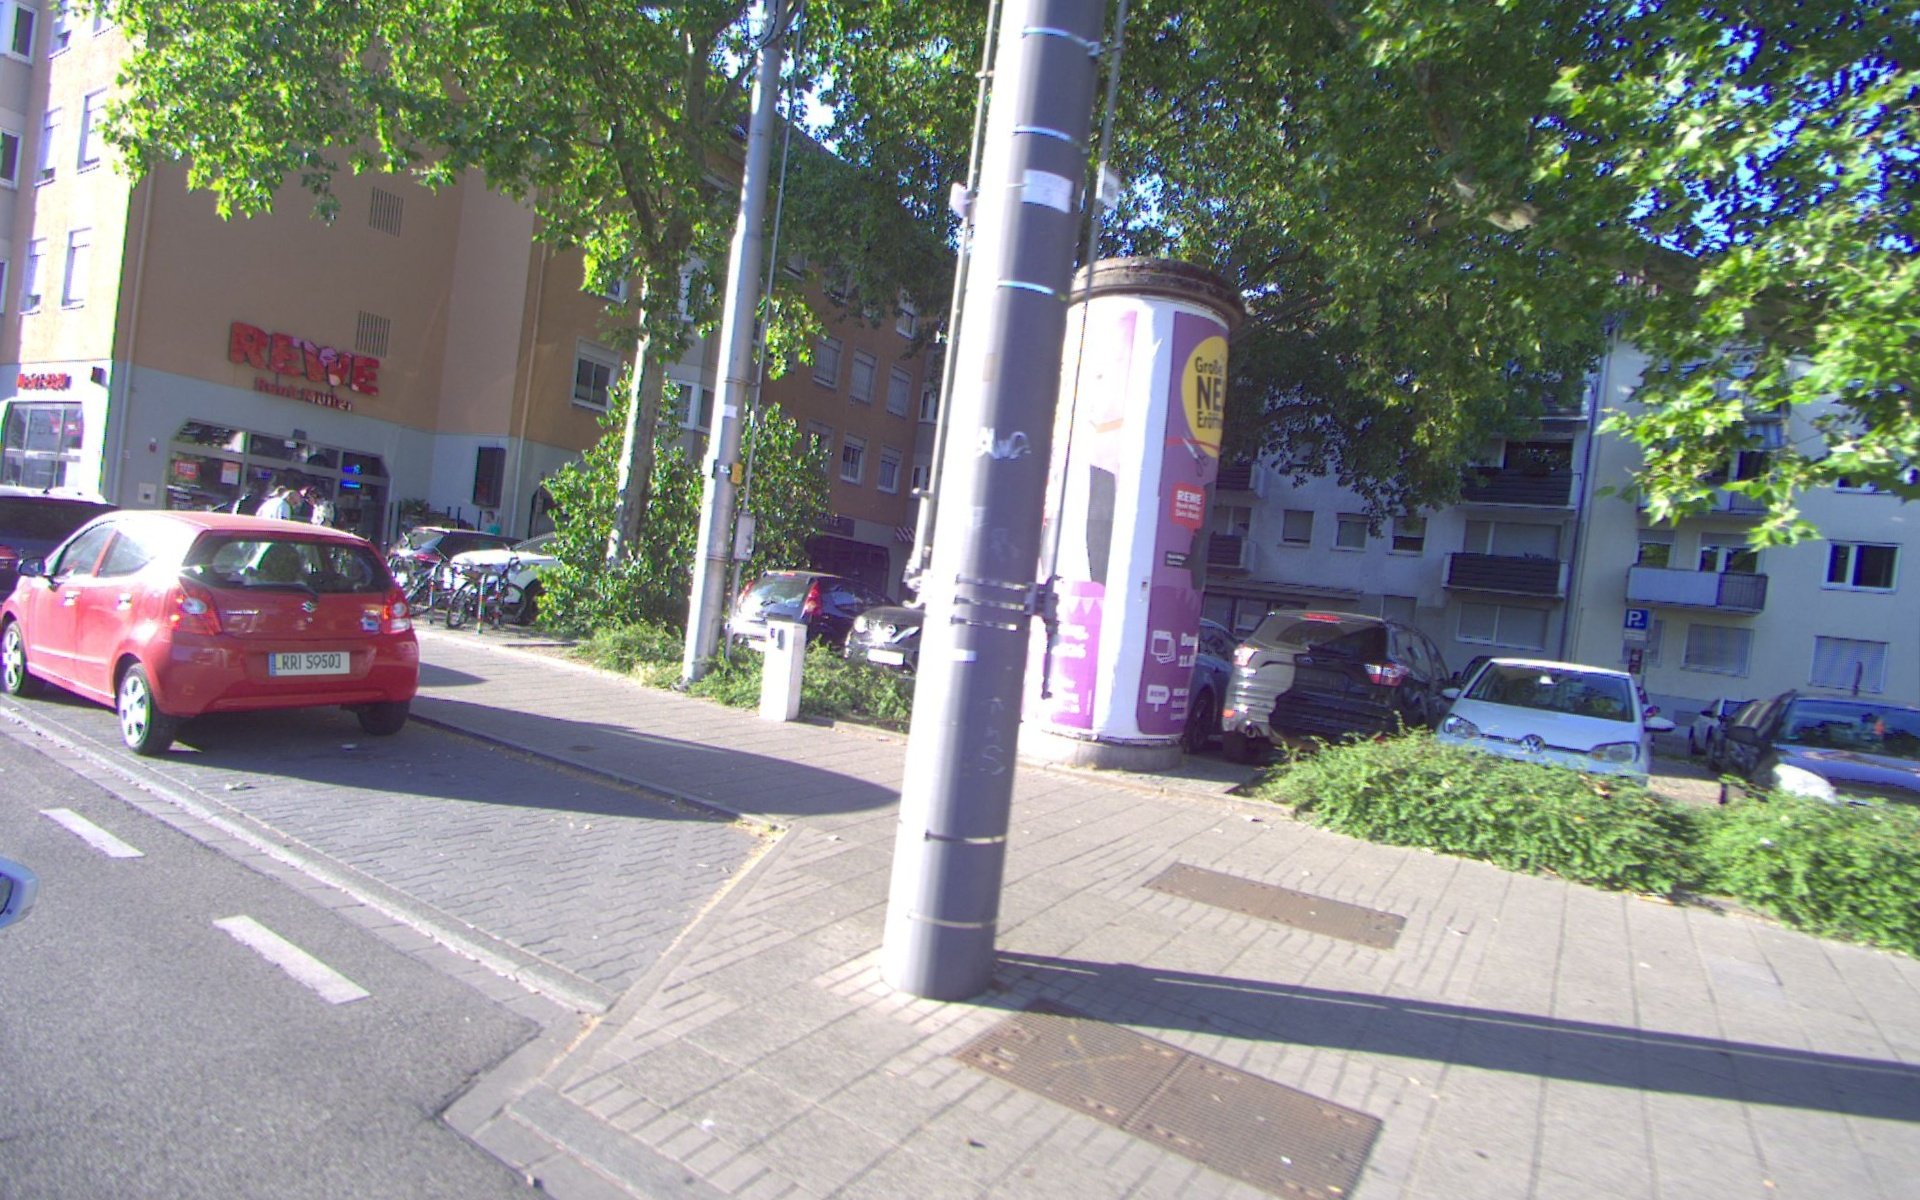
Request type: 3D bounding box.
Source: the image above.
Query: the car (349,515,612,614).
[{"bbox_3d":[-8.939,-0.616,19.076,1.968,1.449,4.018,4,-2,32],"label":"car"}]

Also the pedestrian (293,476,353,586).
[{"bbox_3d":[-10.907,-1.174,17.226,0.639,1.807,0.528,8,5,26],"label":"pedestrian"}]

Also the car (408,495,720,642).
[{"bbox_3d":[-6.665,-0.441,17.504,1.967,1.727,4.629,7,-3,32],"label":"car"}]

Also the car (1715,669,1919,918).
[{"bbox_3d":[7.507,1.468,8.216,1.774,1.513,4.114,7,0,34],"label":"car"}]

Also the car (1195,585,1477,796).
[{"bbox_3d":[4.170,0.974,10.749,1.827,1.650,3.845,7,-2,34],"label":"car"}]

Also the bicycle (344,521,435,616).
[{"bbox_3d":[-8.314,-0.456,14.732,0.637,1.242,1.578,6,1,-13],"label":"bicycle"}]

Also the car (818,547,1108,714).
[{"bbox_3d":[0.220,0.498,13.269,1.826,1.618,4.031,7,-3,32],"label":"car"}]

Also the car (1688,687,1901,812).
[{"bbox_3d":[14.069,2.417,17.256,1.966,1.553,4.288,7,0,30],"label":"car"}]

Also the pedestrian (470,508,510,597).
[{"bbox_3d":[-10.345,-1.035,22.168,0.466,1.905,0.574,6,1,-8],"label":"pedestrian"}]

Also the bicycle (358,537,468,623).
[{"bbox_3d":[-7.440,-0.263,13.764,0.639,1.026,1.581,6,0,-5],"label":"bicycle"}]

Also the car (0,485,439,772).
[{"bbox_3d":[-5.590,0.078,7.341,3.567,1.514,1.569,7,2,33],"label":"car"}]

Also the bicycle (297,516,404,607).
[{"bbox_3d":[-9.228,-0.557,15.297,0.639,1.242,1.581,6,0,-5],"label":"bicycle"}]

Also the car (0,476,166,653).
[{"bbox_3d":[-10.203,-0.522,10.374,4.575,1.551,1.696,7,3,32],"label":"car"}]

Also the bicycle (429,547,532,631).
[{"bbox_3d":[-6.581,-0.149,13.900,0.639,1.026,1.678,6,0,-5],"label":"bicycle"}]

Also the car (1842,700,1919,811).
[{"bbox_3d":[15.837,2.535,15.801,1.966,1.553,4.288,7,0,29],"label":"car"}]

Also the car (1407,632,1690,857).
[{"bbox_3d":[5.684,1.310,9.637,1.773,1.453,3.846,9,-1,34],"label":"car"}]

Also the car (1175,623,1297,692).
[{"bbox_3d":[7.712,1.619,27.817,1.968,1.553,4.052,7,0,33],"label":"car"}]

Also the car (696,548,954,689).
[{"bbox_3d":[-1.827,0.342,14.626,1.744,1.499,3.506,7,-3,32],"label":"car"}]

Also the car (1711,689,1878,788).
[{"bbox_3d":[16.806,2.713,20.476,1.786,1.514,3.877,7,0,29],"label":"car"}]

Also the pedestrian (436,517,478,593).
[{"bbox_3d":[-10.949,-0.963,21.910,0.413,1.588,0.638,7,1,3],"label":"pedestrian"}]

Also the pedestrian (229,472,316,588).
[{"bbox_3d":[-10.568,-1.063,15.468,0.972,1.659,0.659,8,5,26],"label":"pedestrian"}]

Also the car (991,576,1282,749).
[{"bbox_3d":[2.229,0.824,11.799,1.827,1.511,3.847,7,-3,34],"label":"car"}]

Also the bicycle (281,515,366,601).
[{"bbox_3d":[-9.890,-0.629,15.673,0.396,1.242,1.518,6,1,-7],"label":"bicycle"}]

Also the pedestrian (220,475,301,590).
[{"bbox_3d":[-11.471,-1.100,16.503,0.756,1.776,0.805,9,5,33],"label":"pedestrian"}]
